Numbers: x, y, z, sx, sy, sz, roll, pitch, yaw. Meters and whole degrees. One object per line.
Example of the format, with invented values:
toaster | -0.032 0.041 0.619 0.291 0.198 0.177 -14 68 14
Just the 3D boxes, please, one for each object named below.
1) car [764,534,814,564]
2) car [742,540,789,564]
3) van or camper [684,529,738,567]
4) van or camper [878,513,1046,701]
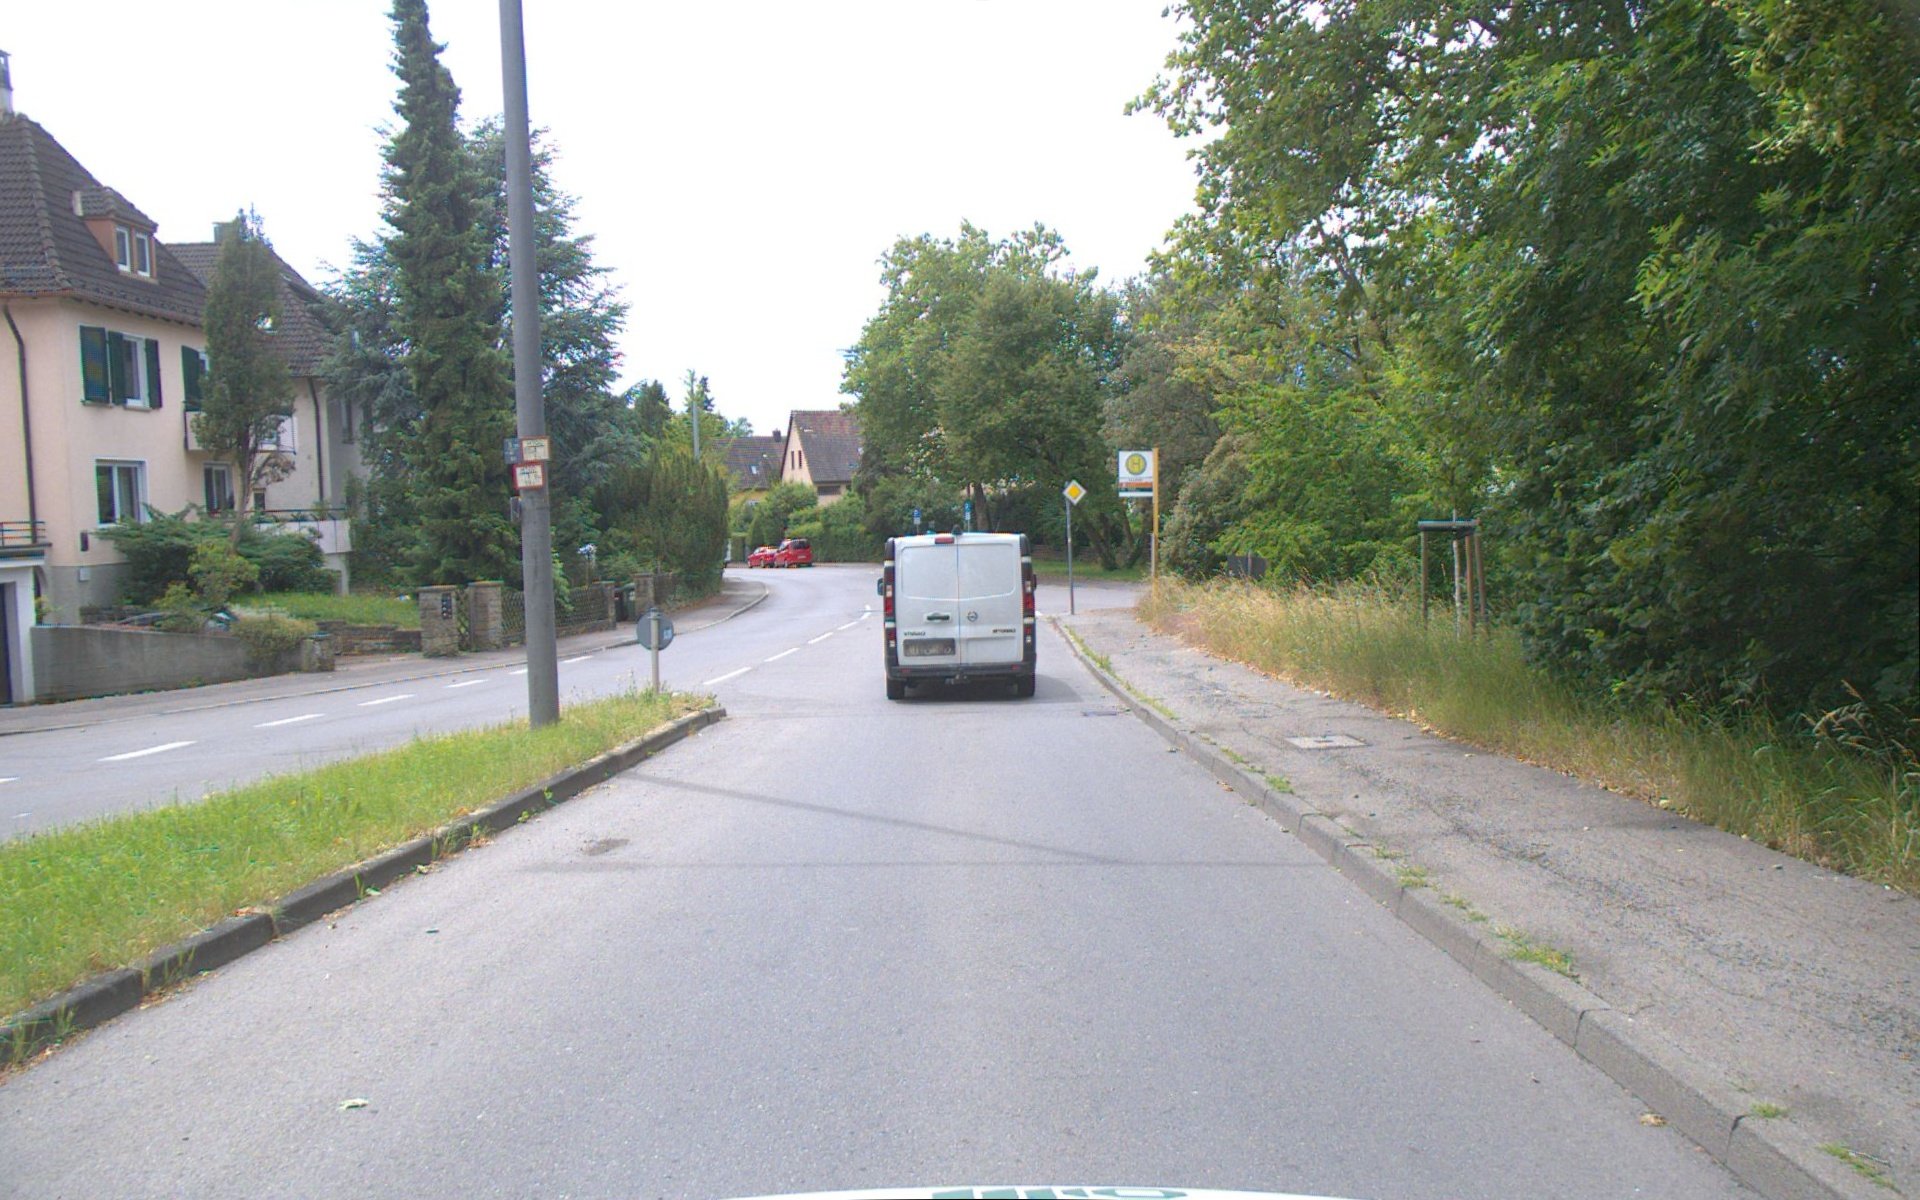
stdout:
car | -10.993 -3.241 105.966 1.737 1.828 4.913 -3 3 -23
car | -13.061 -3.196 110.863 1.693 1.493 4.230 -4 3 -27
van or camper | -18.598 -3.880 123.471 2.042 2.720 6.274 -4 3 -26
van or camper | 0.074 -0.040 21.427 1.884 2.048 4.832 -1 4 1
